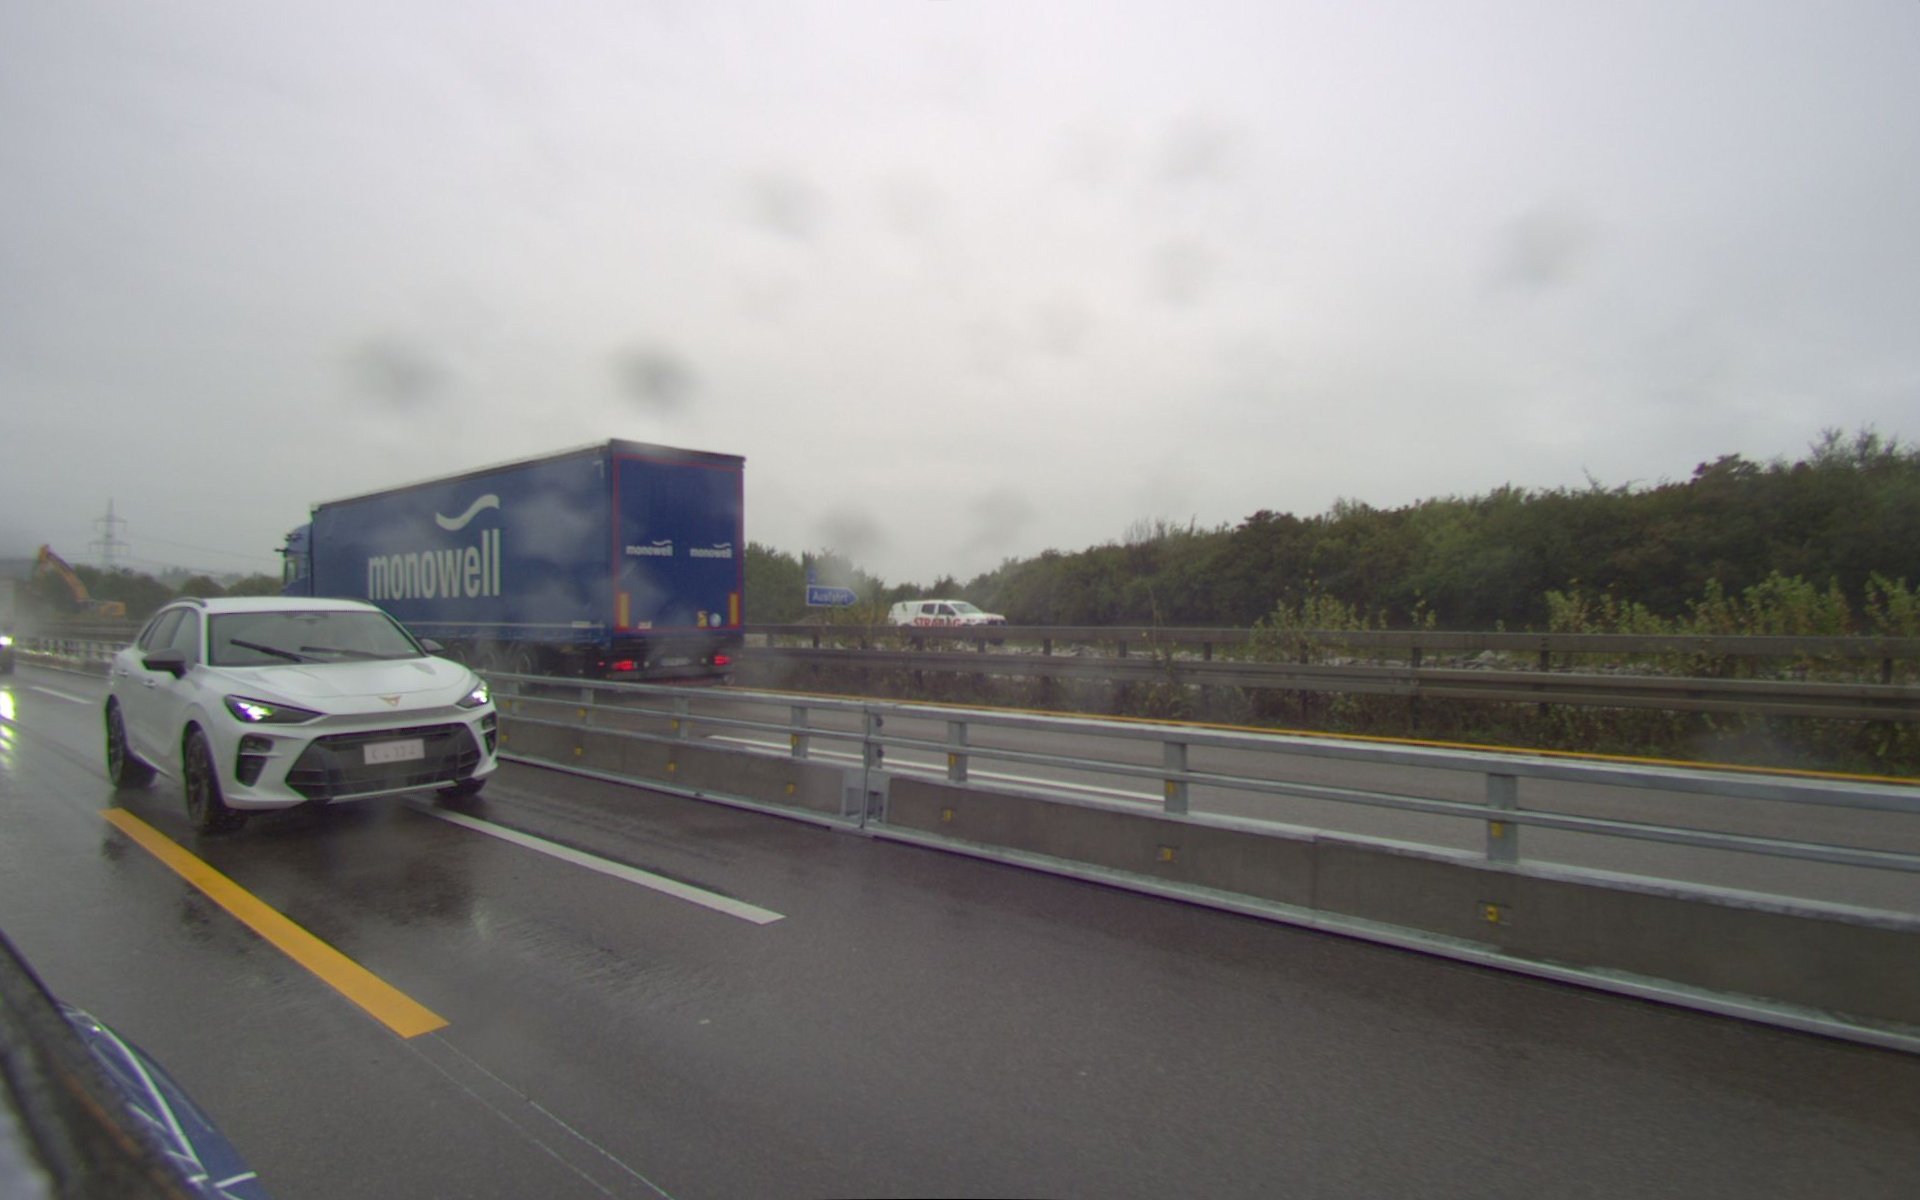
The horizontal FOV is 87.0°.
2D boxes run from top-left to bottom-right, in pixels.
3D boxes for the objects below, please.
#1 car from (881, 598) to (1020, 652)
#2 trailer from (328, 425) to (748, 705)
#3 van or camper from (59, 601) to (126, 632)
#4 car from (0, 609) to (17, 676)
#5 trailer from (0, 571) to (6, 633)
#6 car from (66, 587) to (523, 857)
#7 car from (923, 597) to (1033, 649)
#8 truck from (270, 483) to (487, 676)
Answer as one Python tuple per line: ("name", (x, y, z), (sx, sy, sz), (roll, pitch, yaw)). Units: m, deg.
("car", (-0.442, 0.947, 39.383), (5.361, 1.981, 2.072), (-1, -1, 41))
("trailer", (-8.990, -0.455, 19.964), (12.428, 4.108, 2.572), (-1, 0, 42))
("van or camper", (-101.558, 1.887, 118.538), (3.372, 3.370, 5.356), (-1, 1, 37))
("car", (-26.217, 1.091, 26.352), (5.195, 1.640, 2.042), (-1, -1, 42))
("trailer", (-68.095, 0.225, 69.289), (11.917, 4.037, 2.586), (-1, 0, 40))
("car", (-5.646, 0.742, 8.263), (5.005, 1.562, 1.907), (-1, -1, 42))
("car", (0.675, 0.961, 44.213), (2.330, 2.092, 5.596), (0, -1, -29))
("truck", (-14.375, -0.384, 24.770), (6.666, 4.113, 2.596), (-2, -1, 41))
